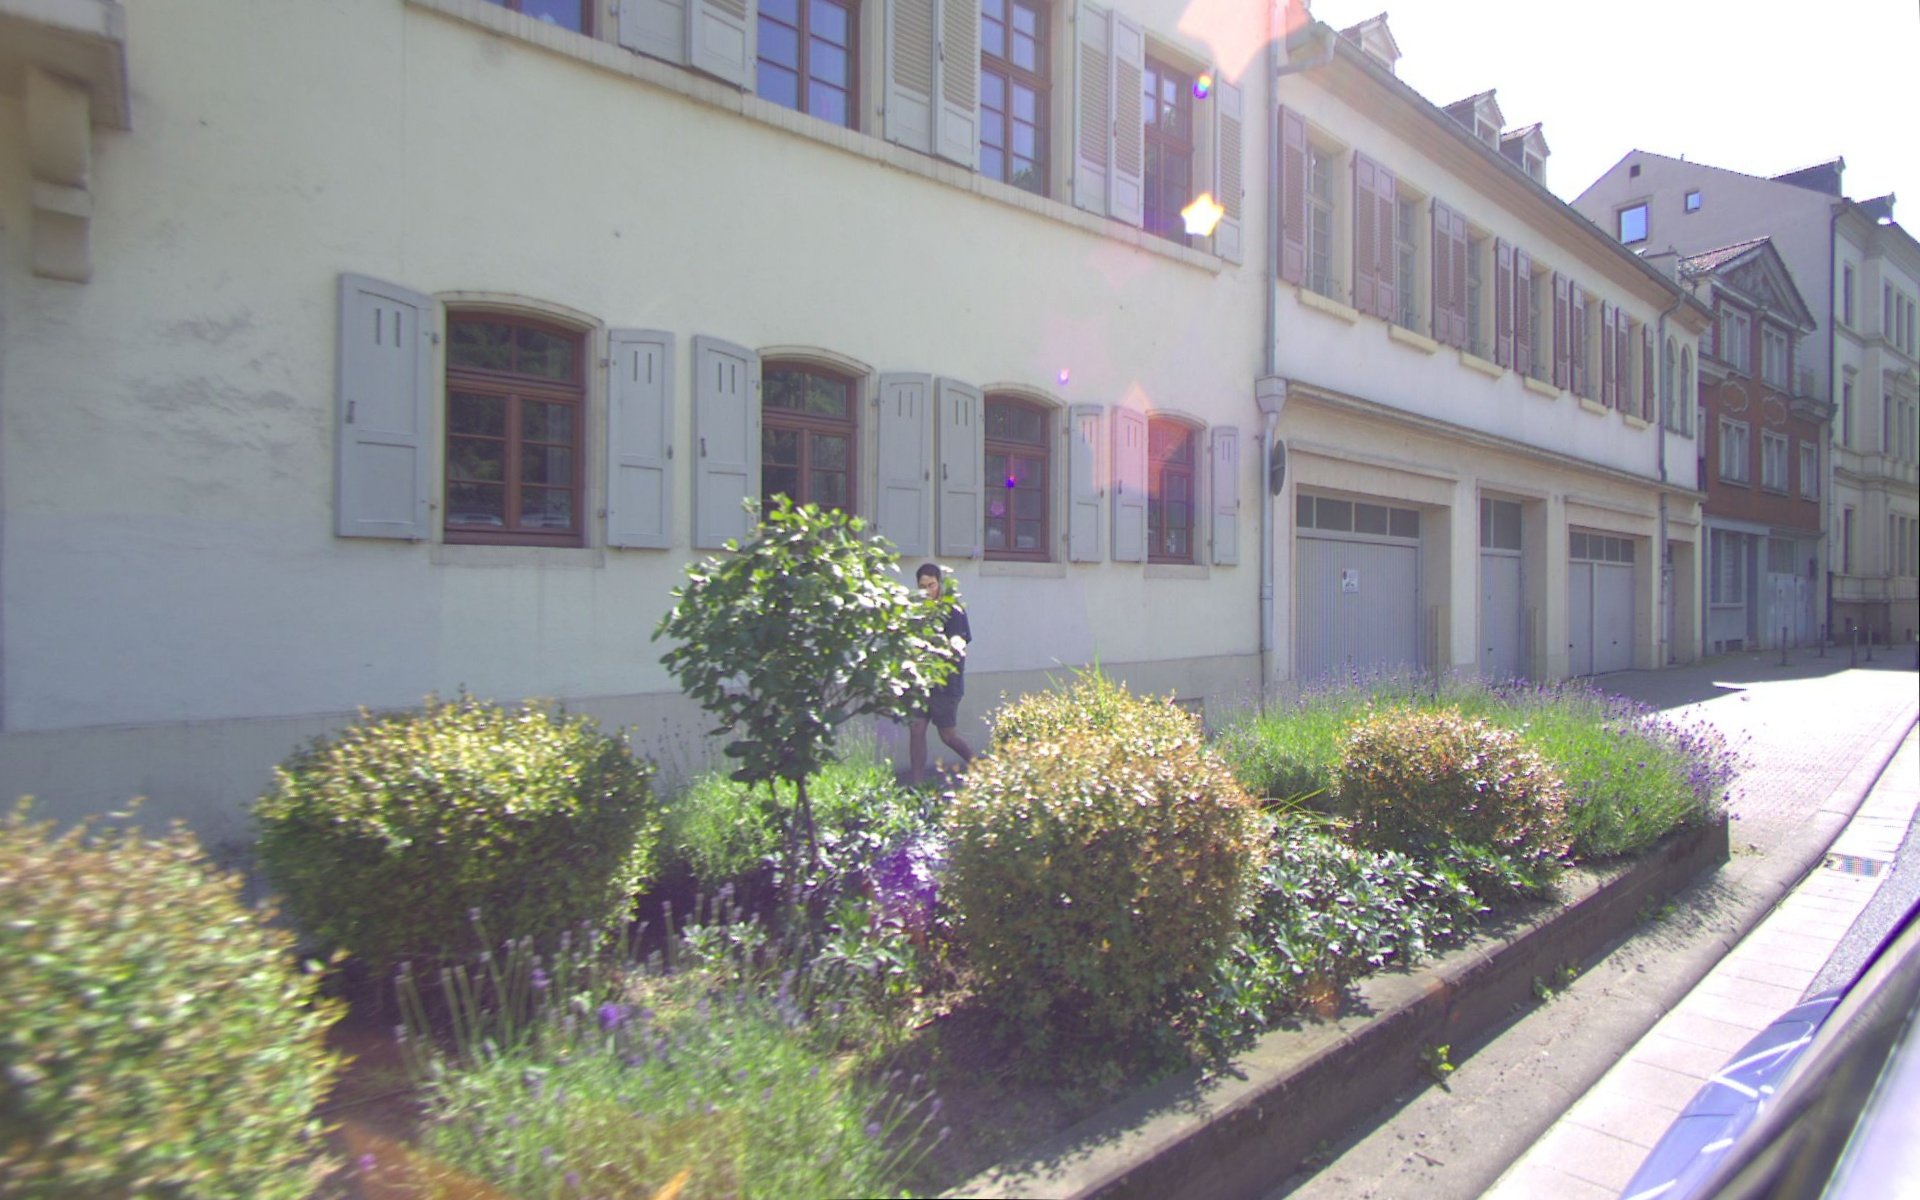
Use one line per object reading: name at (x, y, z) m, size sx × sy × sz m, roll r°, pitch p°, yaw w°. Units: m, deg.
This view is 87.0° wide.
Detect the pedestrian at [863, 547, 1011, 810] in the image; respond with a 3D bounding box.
pedestrian at (-0.171, 0.505, 7.205) m, size 0.683 × 1.734 × 0.763 m, roll 0°, pitch 3°, yaw -40°
